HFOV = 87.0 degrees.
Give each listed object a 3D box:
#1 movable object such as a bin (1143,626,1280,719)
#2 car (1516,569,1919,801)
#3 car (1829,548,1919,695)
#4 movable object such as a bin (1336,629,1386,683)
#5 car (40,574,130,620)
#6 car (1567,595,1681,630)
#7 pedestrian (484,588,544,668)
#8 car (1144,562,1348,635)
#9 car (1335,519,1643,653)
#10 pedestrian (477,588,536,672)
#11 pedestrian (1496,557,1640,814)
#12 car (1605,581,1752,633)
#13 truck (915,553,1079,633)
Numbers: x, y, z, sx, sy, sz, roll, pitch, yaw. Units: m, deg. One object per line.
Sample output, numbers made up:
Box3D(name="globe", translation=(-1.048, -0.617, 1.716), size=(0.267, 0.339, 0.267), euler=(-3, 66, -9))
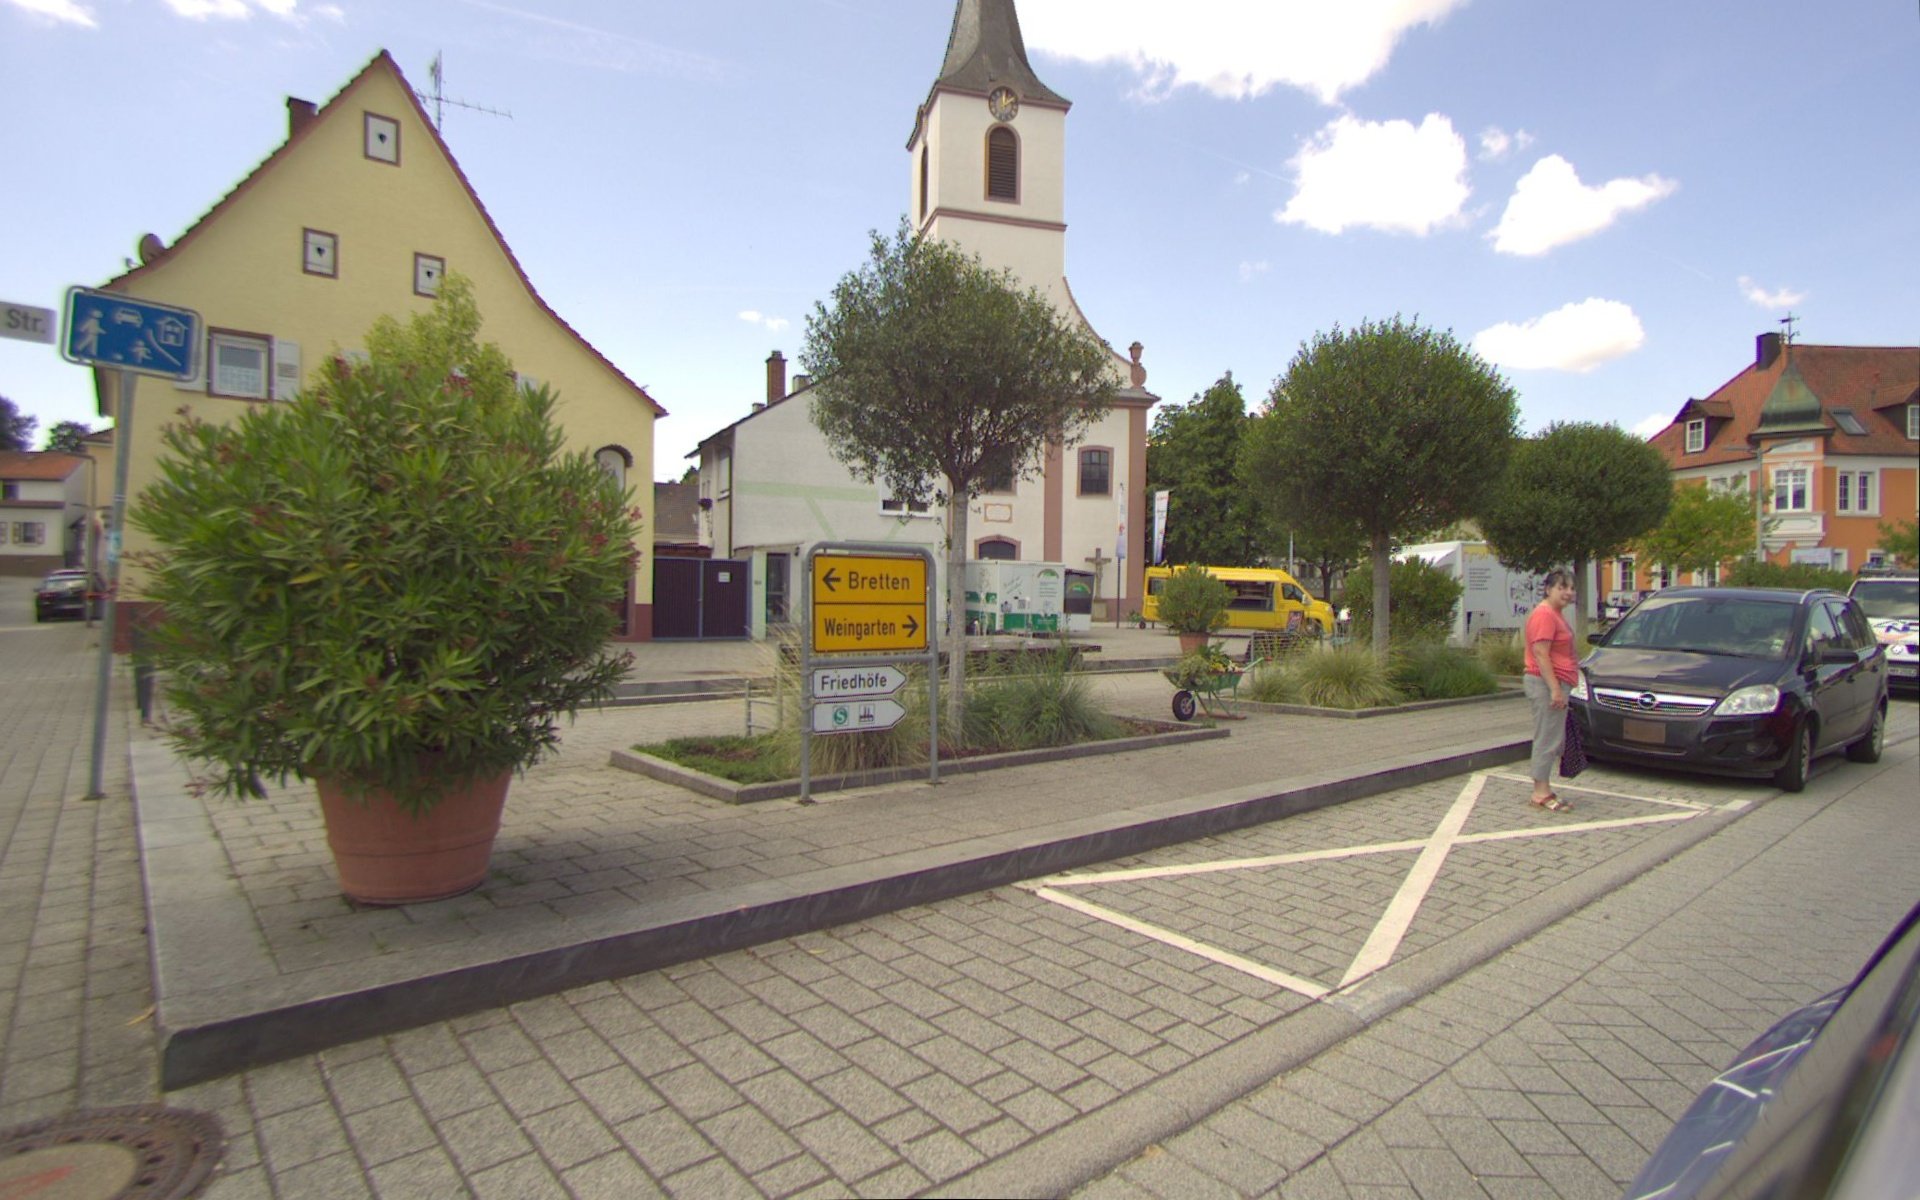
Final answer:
Box3D(name="movable object such as a bin", translation=(2.677, 0.730, 10.711), size=(1.411, 0.877, 0.736), euler=(0, 0, -41))
Box3D(name="car", translation=(7.013, 0.587, 9.135), size=(4.335, 1.583, 1.775), euler=(0, 3, -36))
Box3D(name="car", translation=(16.402, 0.338, 16.794), size=(5.007, 2.204, 1.948), euler=(0, 2, -37))
Box3D(name="movable object such as a bin", translation=(5.896, 0.818, 14.881), size=(0.384, 0.742, 0.567), euler=(1, 0, -34))
Box3D(name="car", translation=(-28.370, -0.143, 32.910), size=(1.963, 1.363, 3.540), euler=(-1, 2, -37))
Box3D(name="car", translation=(29.555, 0.542, 45.047), size=(4.623, 1.503, 1.628), euler=(1, 0, -16))
Box3D(name="pedestrian", translation=(-7.416, 0.452, 16.847), size=(0.775, 1.300, 0.537), euler=(0, 1, 2))
Box3D(name="car", translation=(10.262, -0.084, 36.937), size=(6.850, 2.508, 2.647), euler=(1, 0, 9))
Box3D(name="car", translation=(13.076, -0.362, 25.066), size=(6.964, 3.000, 2.768), euler=(0, 1, -20))
Box3D(name="pedestrian", translation=(-7.251, 0.471, 16.205), size=(0.660, 1.300, 0.614), euler=(0, 1, 2))
Box3D(name="pedestrian", translation=(4.159, 0.544, 6.935), size=(0.608, 1.649, 0.641), euler=(1, 0, -35))
Box3D(name="car", translation=(29.705, 0.298, 41.848), size=(5.379, 2.039, 2.004), euler=(1, 0, -16))
Box3D(name="truck", translation=(1.108, -0.245, 35.477), size=(2.896, 2.529, 6.836), euler=(1, 0, -26))
